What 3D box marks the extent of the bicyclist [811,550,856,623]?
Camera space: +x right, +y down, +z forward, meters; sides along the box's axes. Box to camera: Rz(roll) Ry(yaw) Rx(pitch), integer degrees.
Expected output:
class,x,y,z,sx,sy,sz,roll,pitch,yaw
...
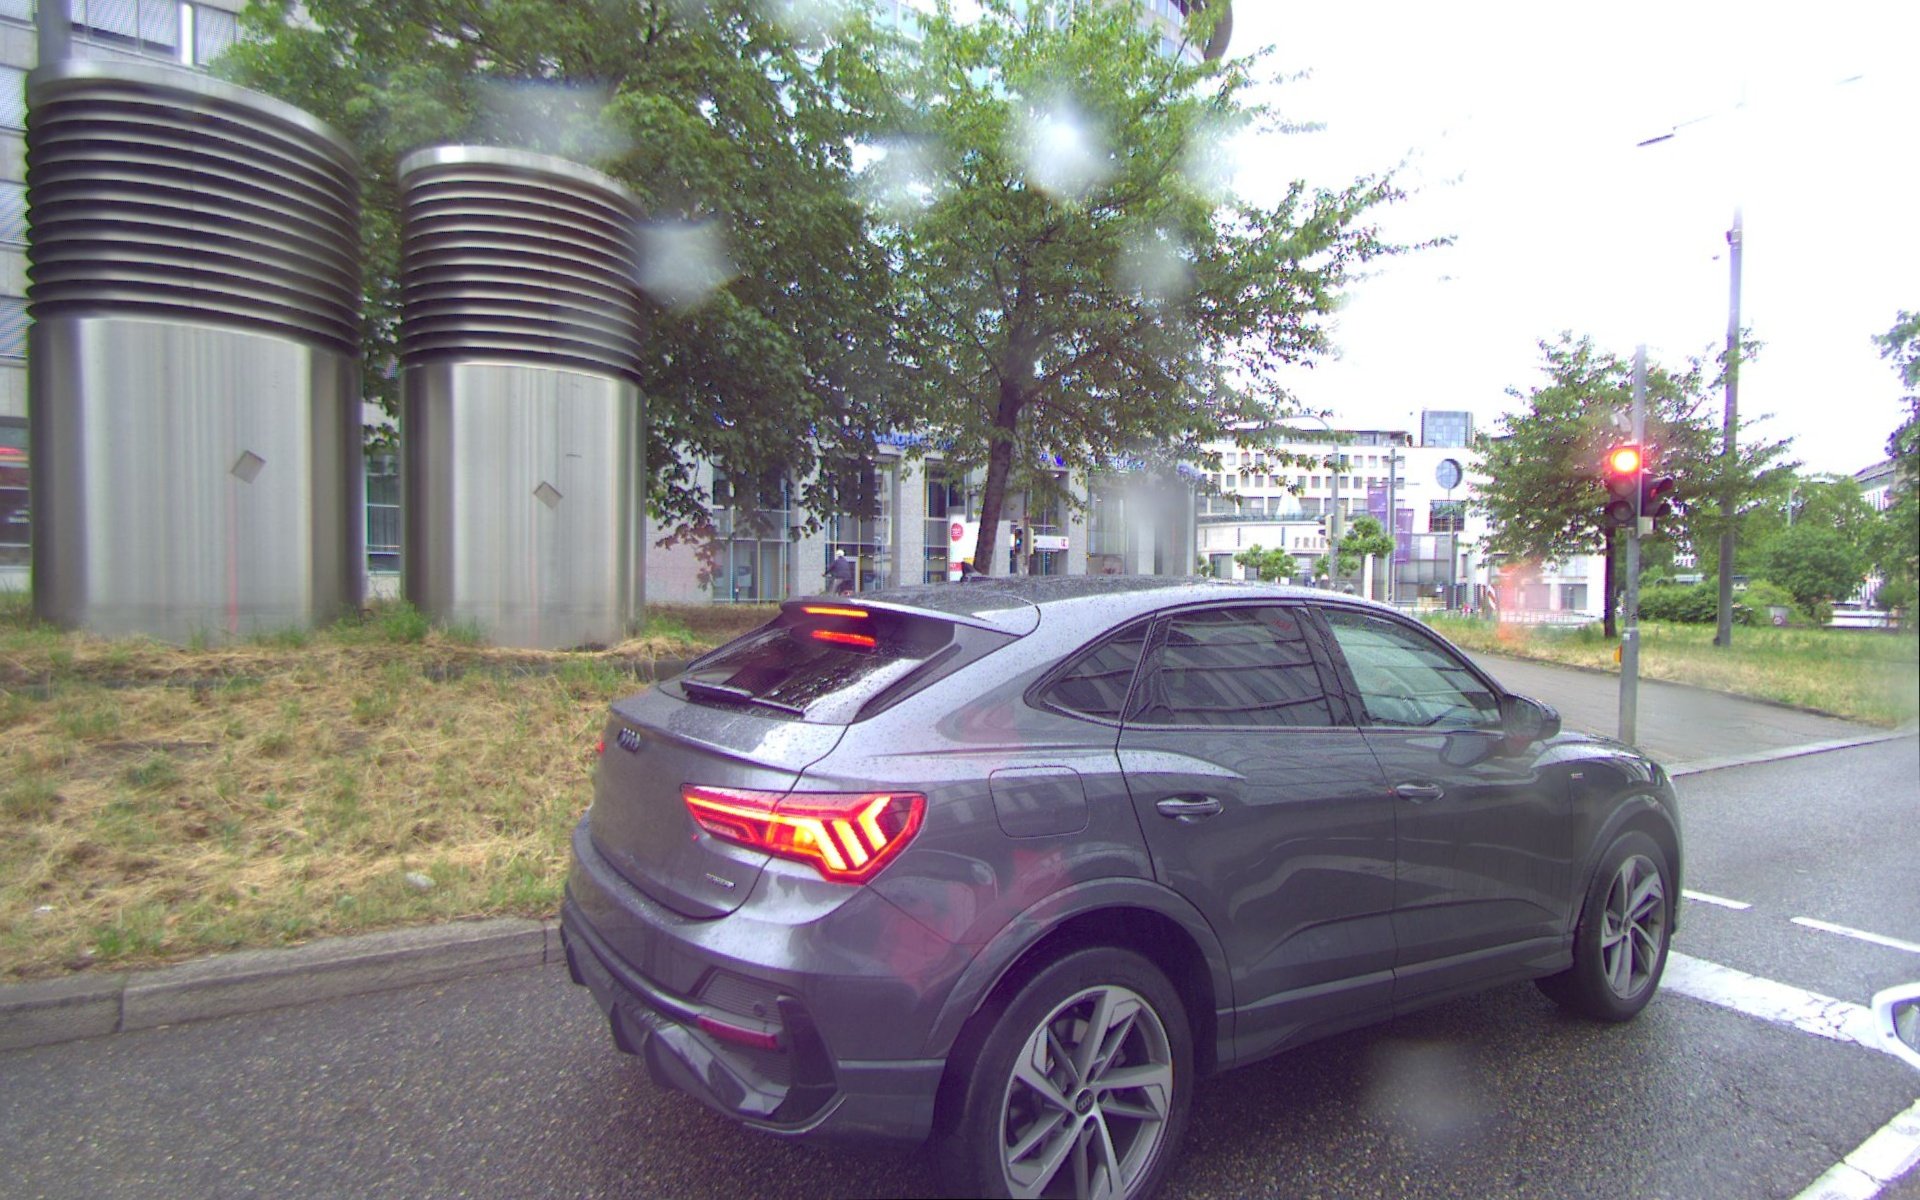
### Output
class,x,y,z,sx,sy,sz,roll,pitch,yaw
bicyclist,-3.804,-0.424,30.168,1.068,2.111,0.759,5,5,39

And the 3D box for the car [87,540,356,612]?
class,x,y,z,sx,sy,sz,roll,pitch,yaw
car,-15.521,-0.474,21.362,4.435,1.343,1.878,1,1,-37

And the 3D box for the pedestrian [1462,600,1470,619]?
class,x,y,z,sx,sy,sz,roll,pitch,yaw
pedestrian,45.954,0.846,91.219,0.566,1.722,0.594,4,2,30

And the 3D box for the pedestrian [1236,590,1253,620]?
class,x,y,z,sx,sy,sz,roll,pitch,yaw
pedestrian,14.820,0.250,52.304,0.717,1.536,0.690,-1,-1,30

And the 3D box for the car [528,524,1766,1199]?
class,x,y,z,sx,sy,sz,roll,pitch,yaw
car,0.876,0.681,3.571,4.206,1.638,1.837,0,2,-33

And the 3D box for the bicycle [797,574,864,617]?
class,x,y,z,sx,sy,sz,roll,pitch,yaw
bicycle,-3.930,-0.148,30.295,2.100,1.161,0.759,5,4,39

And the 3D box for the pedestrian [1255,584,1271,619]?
class,x,y,z,sx,sy,sz,roll,pitch,yaw
pedestrian,15.519,0.094,51.468,0.611,1.786,0.723,-1,-2,35
